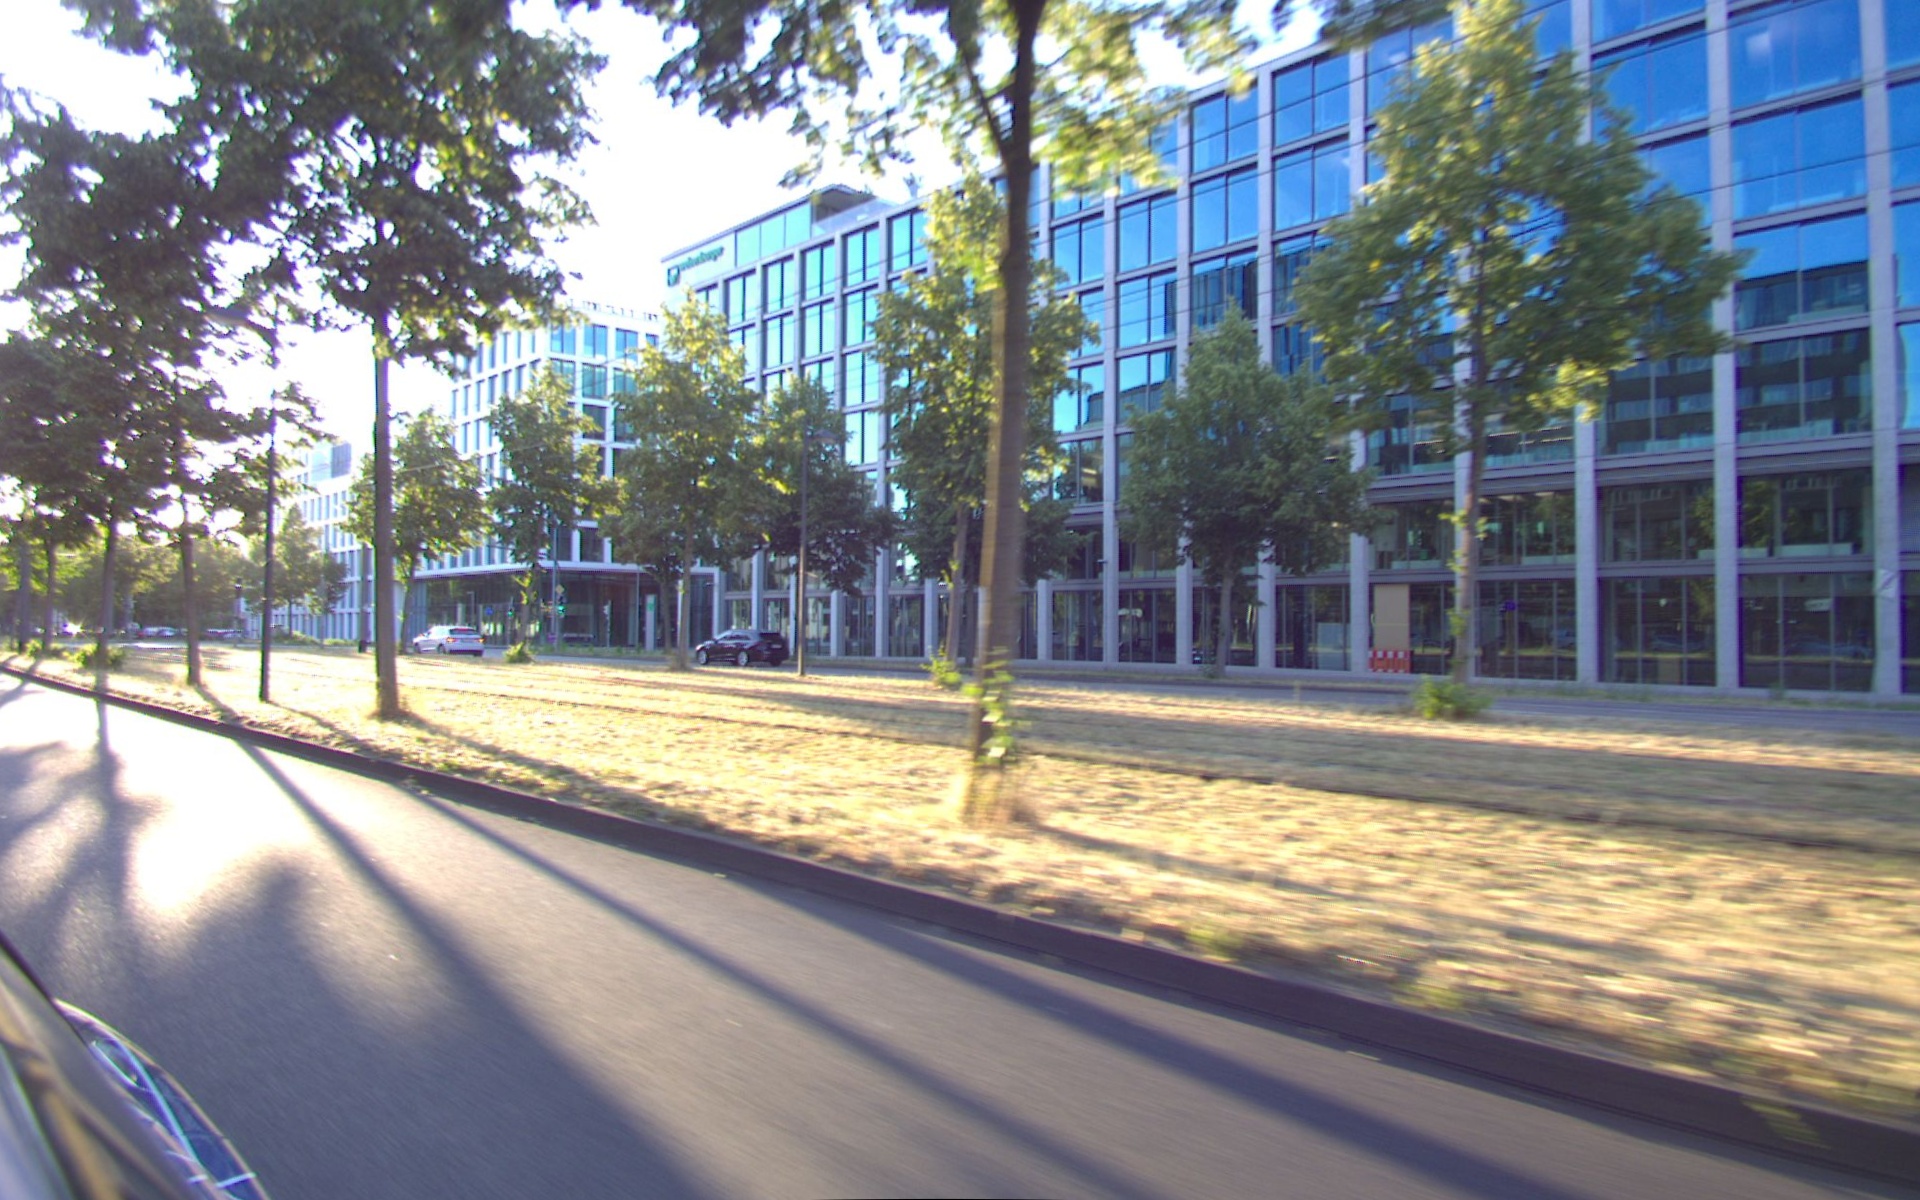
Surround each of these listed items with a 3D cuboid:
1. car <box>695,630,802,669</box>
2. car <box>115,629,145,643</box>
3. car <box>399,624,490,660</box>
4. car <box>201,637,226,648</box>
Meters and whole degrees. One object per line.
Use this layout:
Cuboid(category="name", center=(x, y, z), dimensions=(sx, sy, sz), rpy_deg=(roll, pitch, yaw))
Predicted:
Cuboid(category="car", center=(-8.399, 1.924, 40.024), dimensions=(4.386, 1.433, 1.910), rpy_deg=(-1, -3, 41))
Cuboid(category="car", center=(-85.242, 3.713, 103.950), dimensions=(3.995, 1.460, 1.624), rpy_deg=(-2, -3, 39))
Cuboid(category="car", center=(-22.777, 1.842, 44.658), dimensions=(4.626, 1.497, 1.883), rpy_deg=(-1, -3, 40))
Cuboid(category="car", center=(-98.185, 5.537, 133.123), dimensions=(3.996, 1.414, 1.741), rpy_deg=(-2, -3, 40))
